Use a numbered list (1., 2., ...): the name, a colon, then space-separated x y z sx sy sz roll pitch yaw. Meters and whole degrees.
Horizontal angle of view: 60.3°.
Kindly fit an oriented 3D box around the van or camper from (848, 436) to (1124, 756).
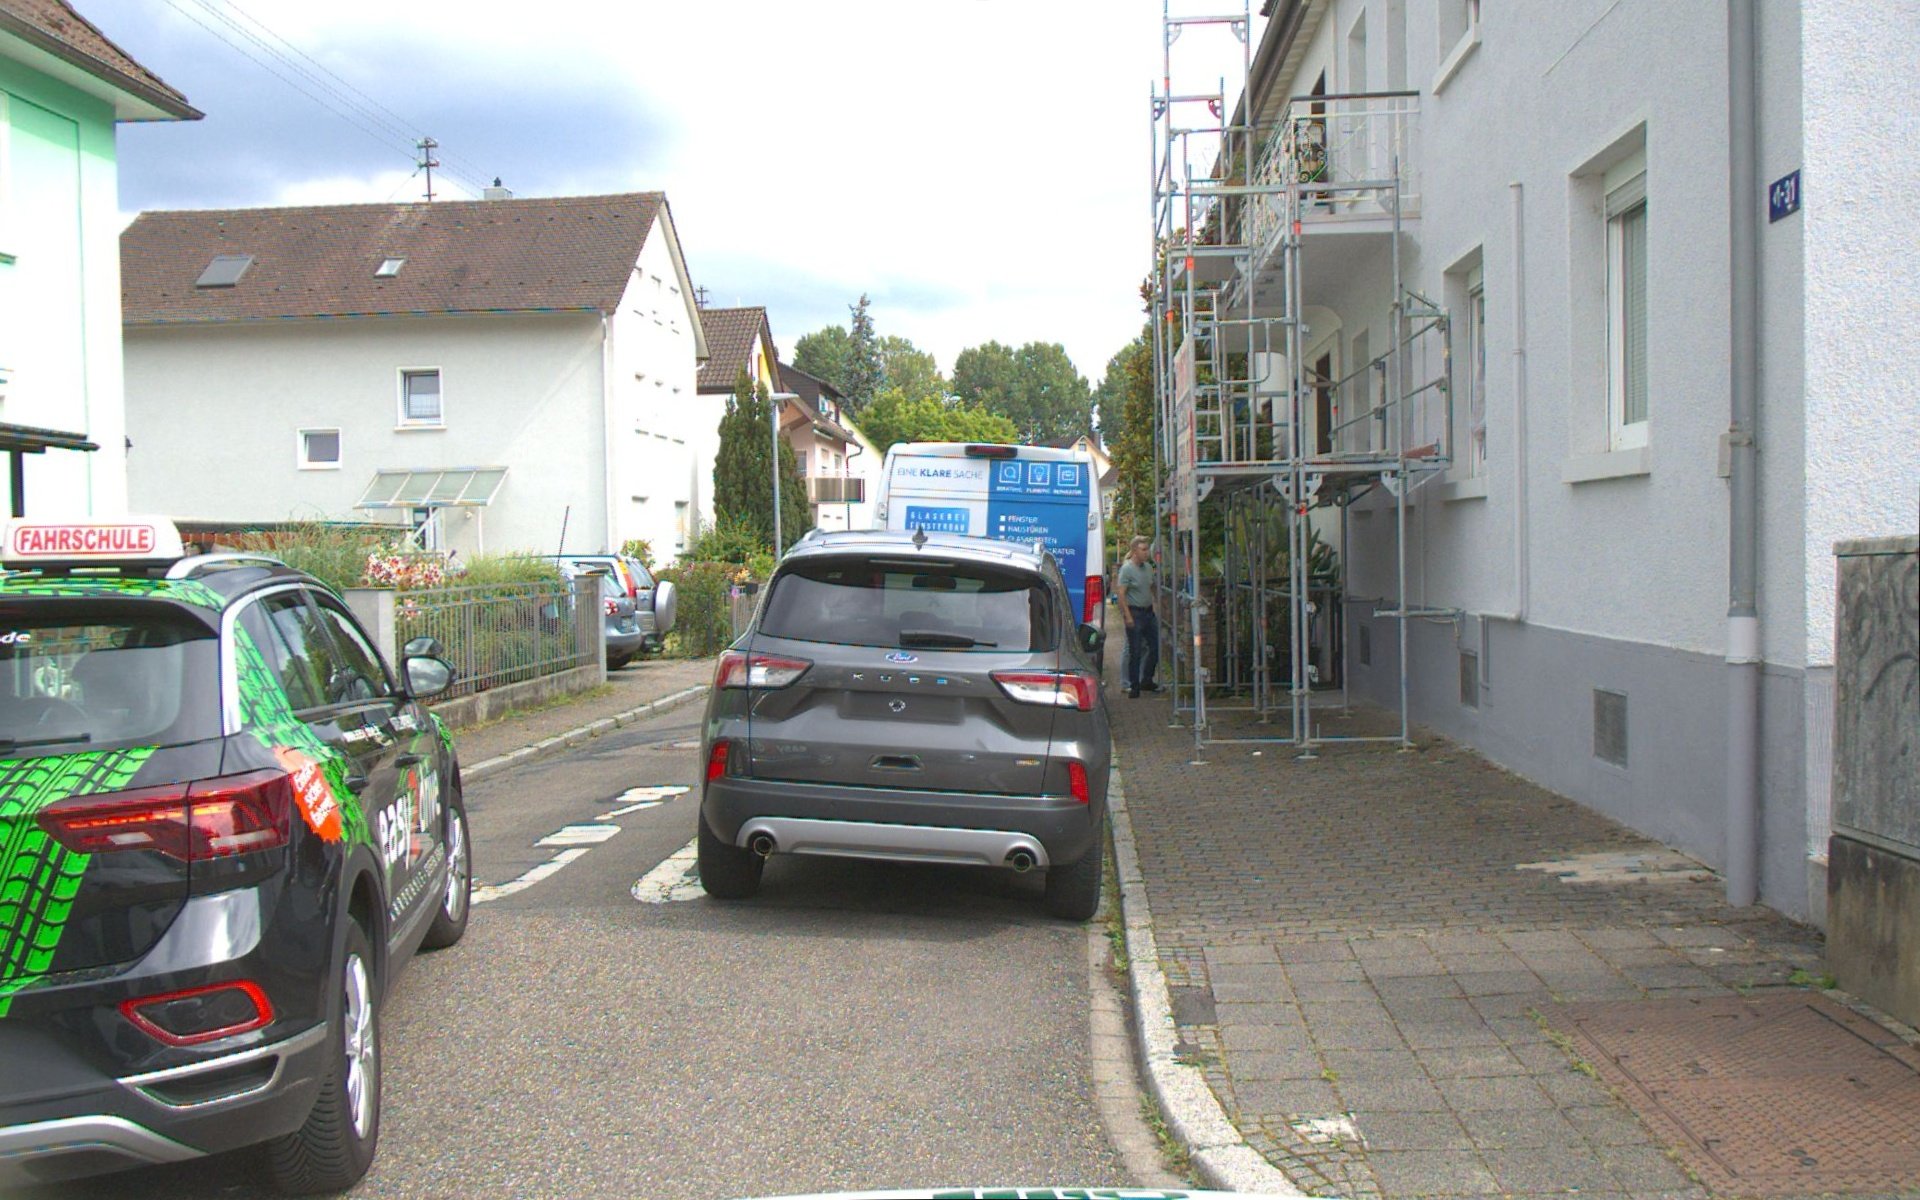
1. van or camper: 0.361 -0.099 15.718 2.146 2.501 5.057 -1 2 4

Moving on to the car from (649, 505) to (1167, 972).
1. car: -0.138 0.474 8.544 1.952 1.756 4.343 -1 2 2

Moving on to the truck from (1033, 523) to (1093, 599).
1. truck: 3.832 -1.471 62.070 2.085 2.703 4.586 -1 2 2

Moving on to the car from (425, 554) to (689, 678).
1. car: -5.967 0.214 24.749 3.497 1.696 1.588 -2 1 0

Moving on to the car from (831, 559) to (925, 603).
1. car: -3.515 -0.809 71.487 3.905 1.803 1.870 -2 0 1

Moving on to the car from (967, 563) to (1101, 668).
1. car: 1.154 0.180 26.673 1.952 1.480 4.343 -1 2 2

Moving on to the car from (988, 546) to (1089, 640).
1. car: 1.603 -0.201 34.660 1.952 1.779 4.343 -1 2 2

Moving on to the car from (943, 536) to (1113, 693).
1. car: 0.858 0.109 21.615 1.952 1.802 4.343 -1 2 2

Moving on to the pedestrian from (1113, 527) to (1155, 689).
1. pedestrian: 1.955 0.086 18.595 0.399 1.793 0.513 -1 0 3

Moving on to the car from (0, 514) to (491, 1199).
1. car: -2.487 0.633 4.847 1.784 1.546 4.031 -2 1 -12

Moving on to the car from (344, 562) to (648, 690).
1. car: -6.033 0.312 21.769 3.497 1.527 1.588 -2 1 0

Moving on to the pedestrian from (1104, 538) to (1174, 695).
1. pedestrian: 1.939 0.175 17.956 0.611 1.657 0.602 -1 0 -5
